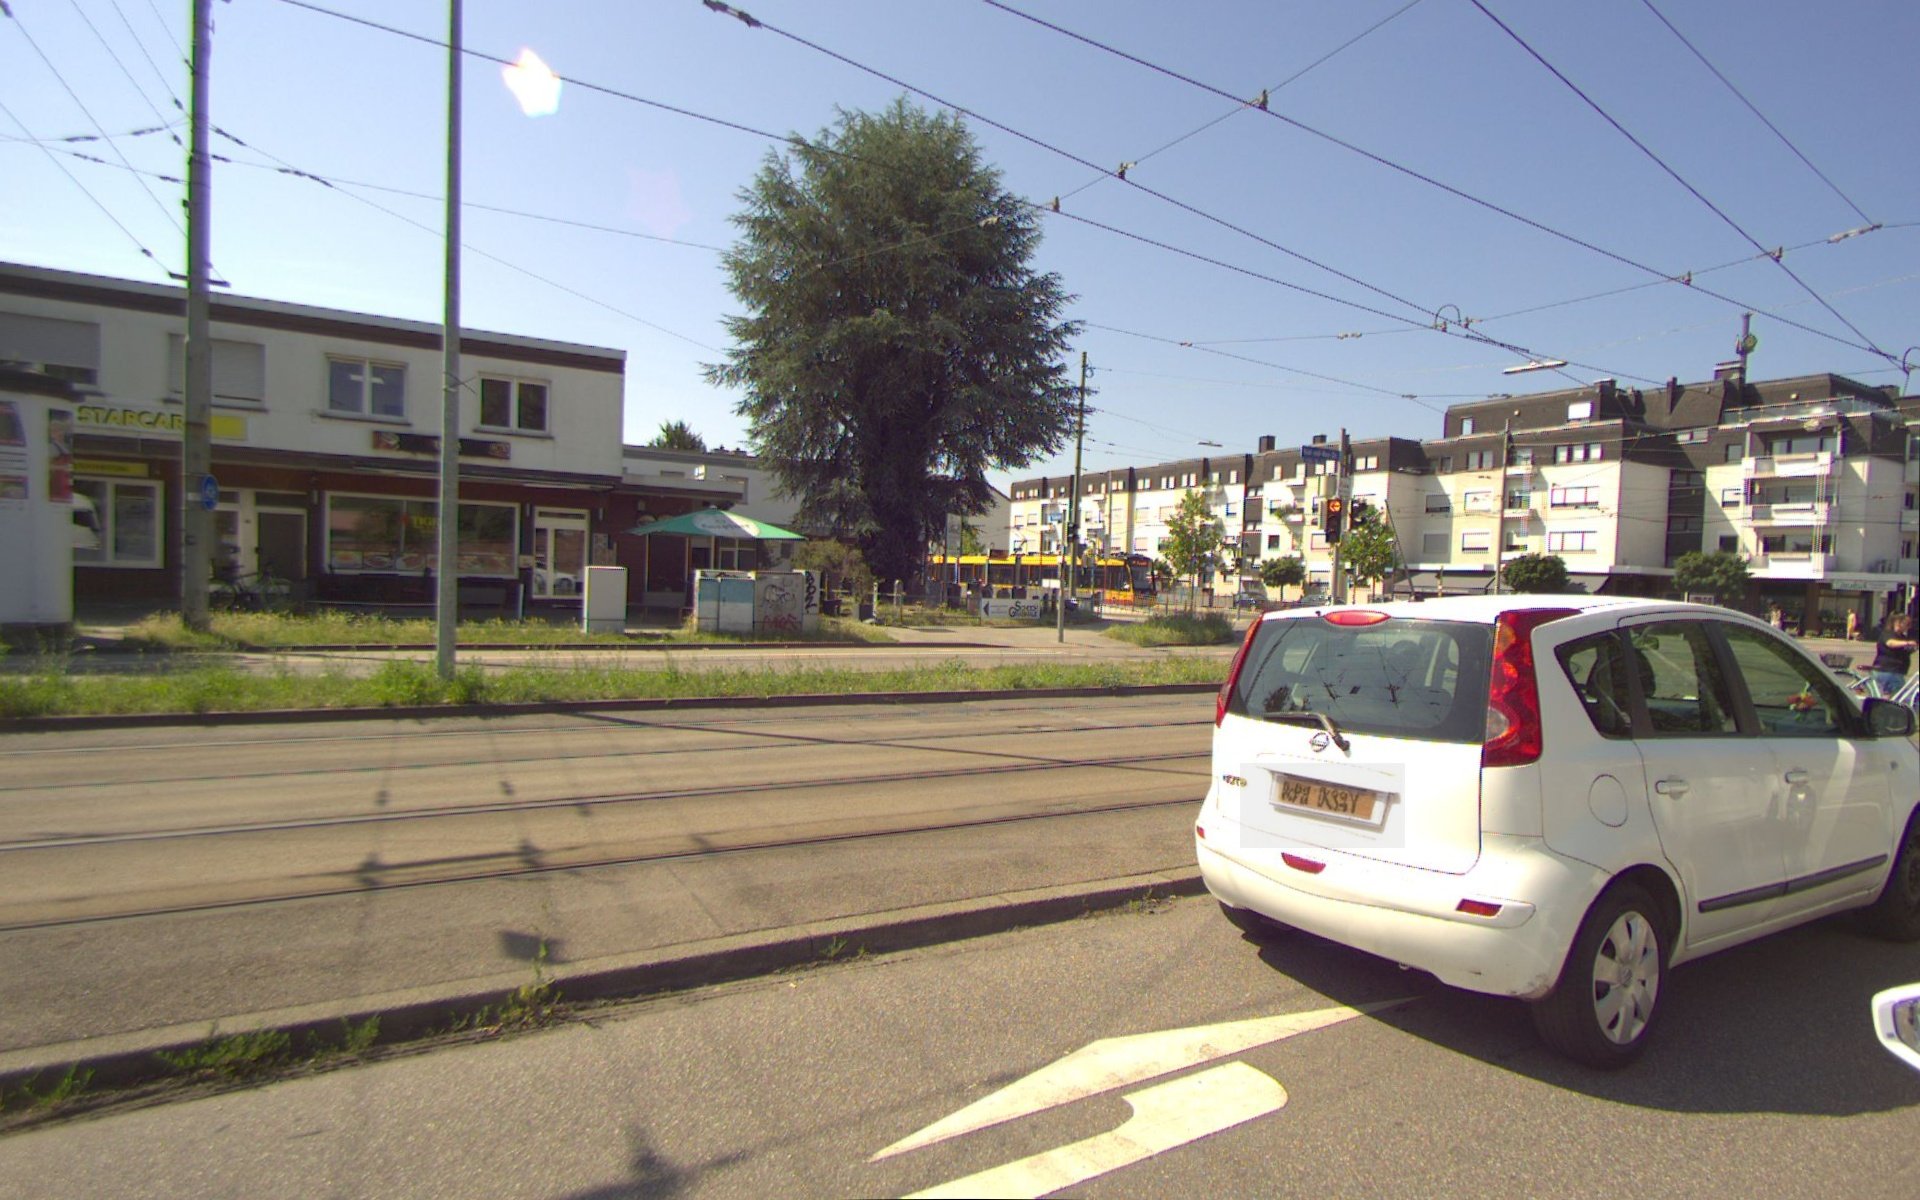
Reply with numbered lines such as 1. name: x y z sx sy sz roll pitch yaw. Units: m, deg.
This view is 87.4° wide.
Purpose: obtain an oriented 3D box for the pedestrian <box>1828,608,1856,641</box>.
1. pedestrian: 48.932 1.368 55.718 0.957 1.766 0.863 1 -1 28

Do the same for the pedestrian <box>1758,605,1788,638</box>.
1. pedestrian: 44.998 1.201 55.611 0.955 1.766 0.865 2 -1 2

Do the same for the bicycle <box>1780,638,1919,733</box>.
1. bicycle: 12.082 1.109 13.140 0.705 1.105 1.999 1 2 -44

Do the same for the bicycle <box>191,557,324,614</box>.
1. bicycle: -15.513 -0.297 22.268 2.306 1.167 0.783 2 -1 -30

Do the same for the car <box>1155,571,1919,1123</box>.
1. car: 2.862 0.720 4.555 3.759 1.587 1.634 0 0 -31

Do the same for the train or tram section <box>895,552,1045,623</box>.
1. train or tram section: 0.412 -0.939 83.234 4.681 5.217 16.121 2 -1 -30

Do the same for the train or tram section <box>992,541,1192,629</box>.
1. train or tram section: 8.565 -0.905 69.336 4.681 5.217 16.121 2 -1 -30

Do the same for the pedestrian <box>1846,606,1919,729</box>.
1. pedestrian: 12.531 0.885 13.590 0.670 1.593 0.738 0 1 -43
